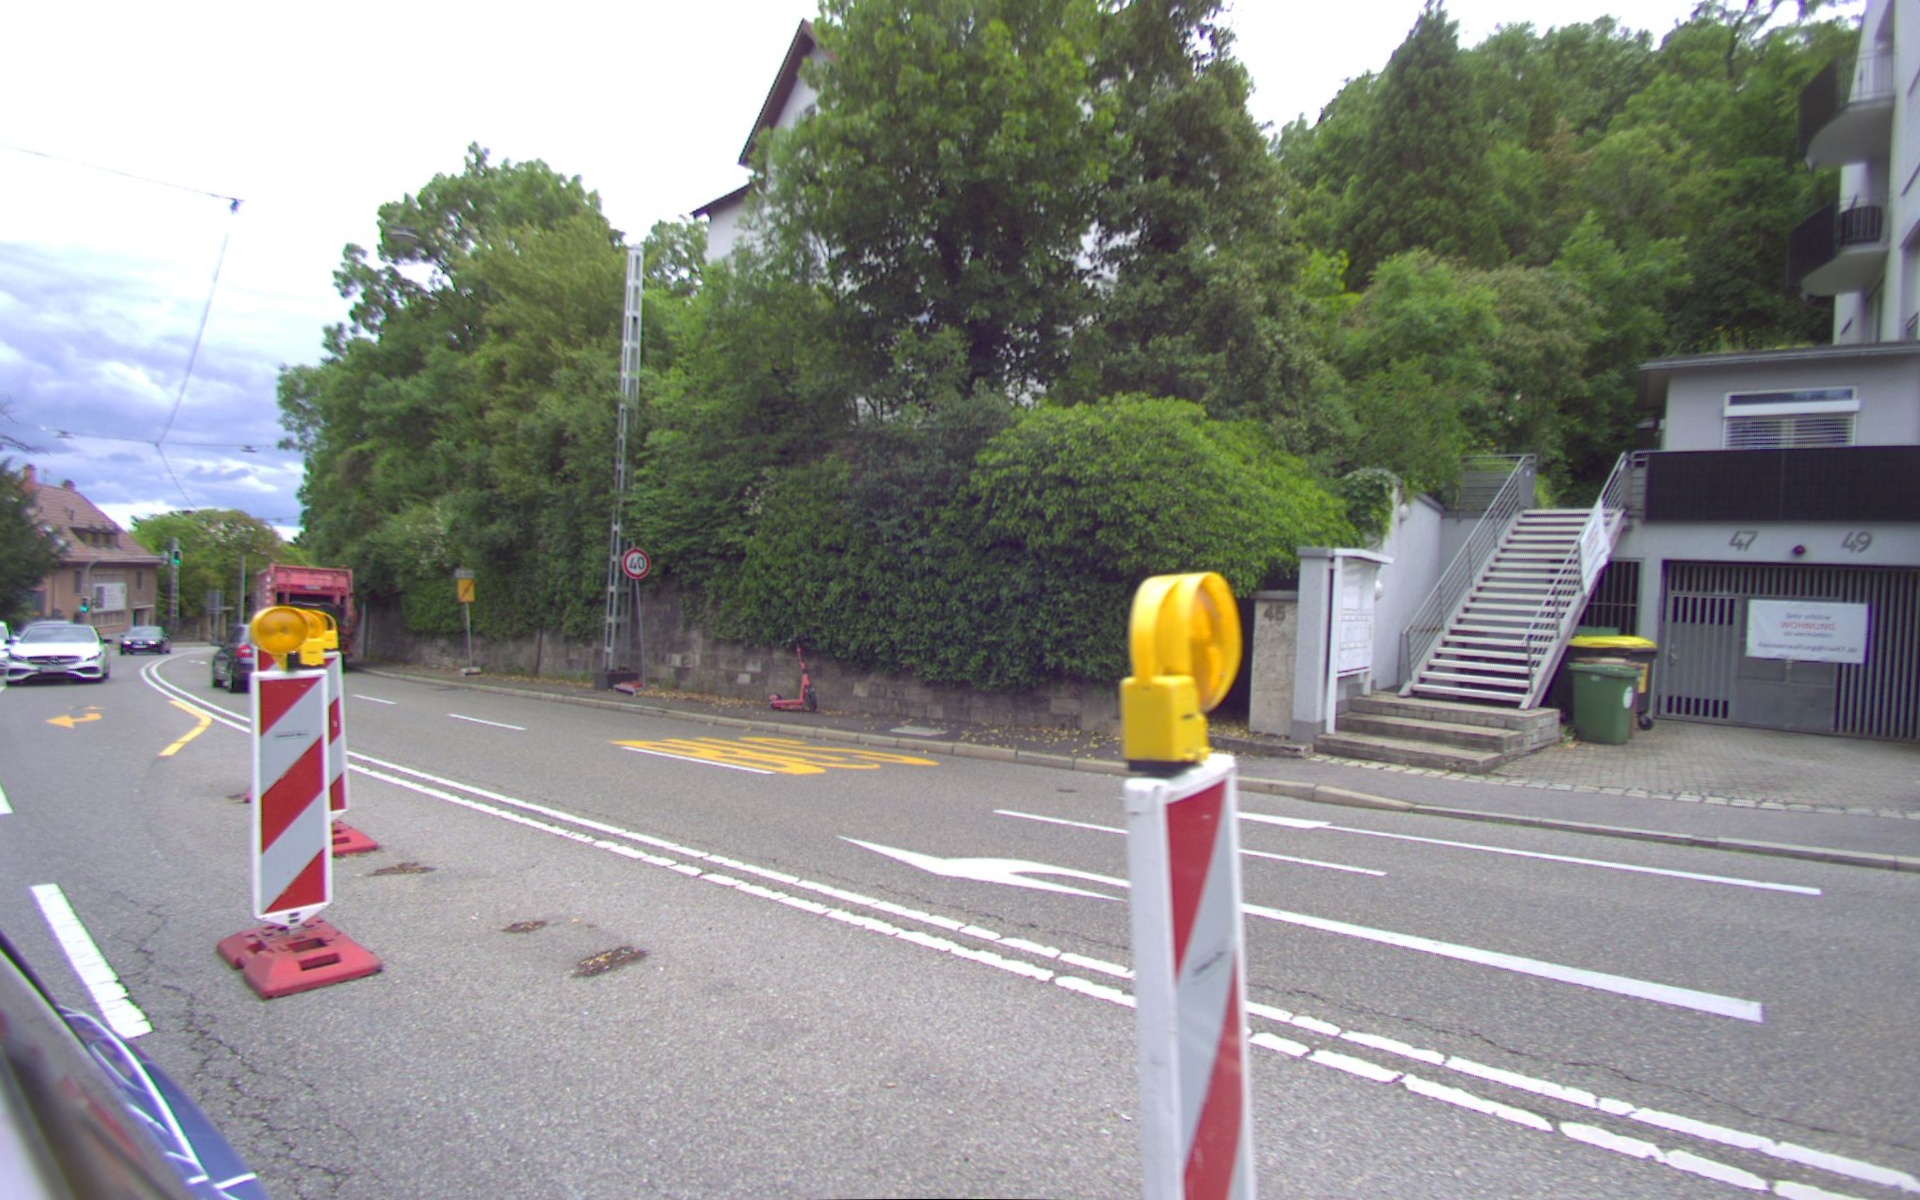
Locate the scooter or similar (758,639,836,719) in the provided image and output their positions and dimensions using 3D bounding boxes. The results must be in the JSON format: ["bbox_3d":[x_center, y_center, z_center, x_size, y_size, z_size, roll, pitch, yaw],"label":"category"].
[{"bbox_3d":[-2.648,1.255,16.387,1.278,1.218,0.425,-1,1,34],"label":"scooter or similar"}]

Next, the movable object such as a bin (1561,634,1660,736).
[{"bbox_3d":[9.357,1.199,14.558,0.983,1.383,1.008,4,-4,-45],"label":"movable object such as a bin"}]

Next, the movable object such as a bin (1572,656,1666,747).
[{"bbox_3d":[8.560,1.288,13.144,1.092,1.098,0.804,4,-4,-45],"label":"movable object such as a bin"}]

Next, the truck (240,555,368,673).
[{"bbox_3d":[-24.240,0.628,37.114,2.823,3.726,9.676,5,-5,-38],"label":"truck"}]

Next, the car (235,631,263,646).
[{"bbox_3d":[-72.268,3.904,102.892,1.762,1.492,4.258,0,-1,-28],"label":"car"}]

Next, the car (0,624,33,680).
[{"bbox_3d":[-29.057,1.528,29.947,1.763,1.563,4.256,0,-1,-34],"label":"car"}]

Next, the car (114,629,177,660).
[{"bbox_3d":[-41.985,2.265,52.250,1.762,1.492,4.258,0,-1,-28],"label":"car"}]

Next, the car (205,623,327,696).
[{"bbox_3d":[-15.339,1.263,22.286,1.693,1.472,4.005,3,-3,-42],"label":"car"}]

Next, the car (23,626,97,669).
[{"bbox_3d":[-33.284,1.736,37.520,1.771,1.522,4.008,2,-3,-38],"label":"car"}]

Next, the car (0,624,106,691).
[{"bbox_3d":[-21.977,1.343,24.643,1.765,1.492,4.251,1,-2,-40],"label":"car"}]
